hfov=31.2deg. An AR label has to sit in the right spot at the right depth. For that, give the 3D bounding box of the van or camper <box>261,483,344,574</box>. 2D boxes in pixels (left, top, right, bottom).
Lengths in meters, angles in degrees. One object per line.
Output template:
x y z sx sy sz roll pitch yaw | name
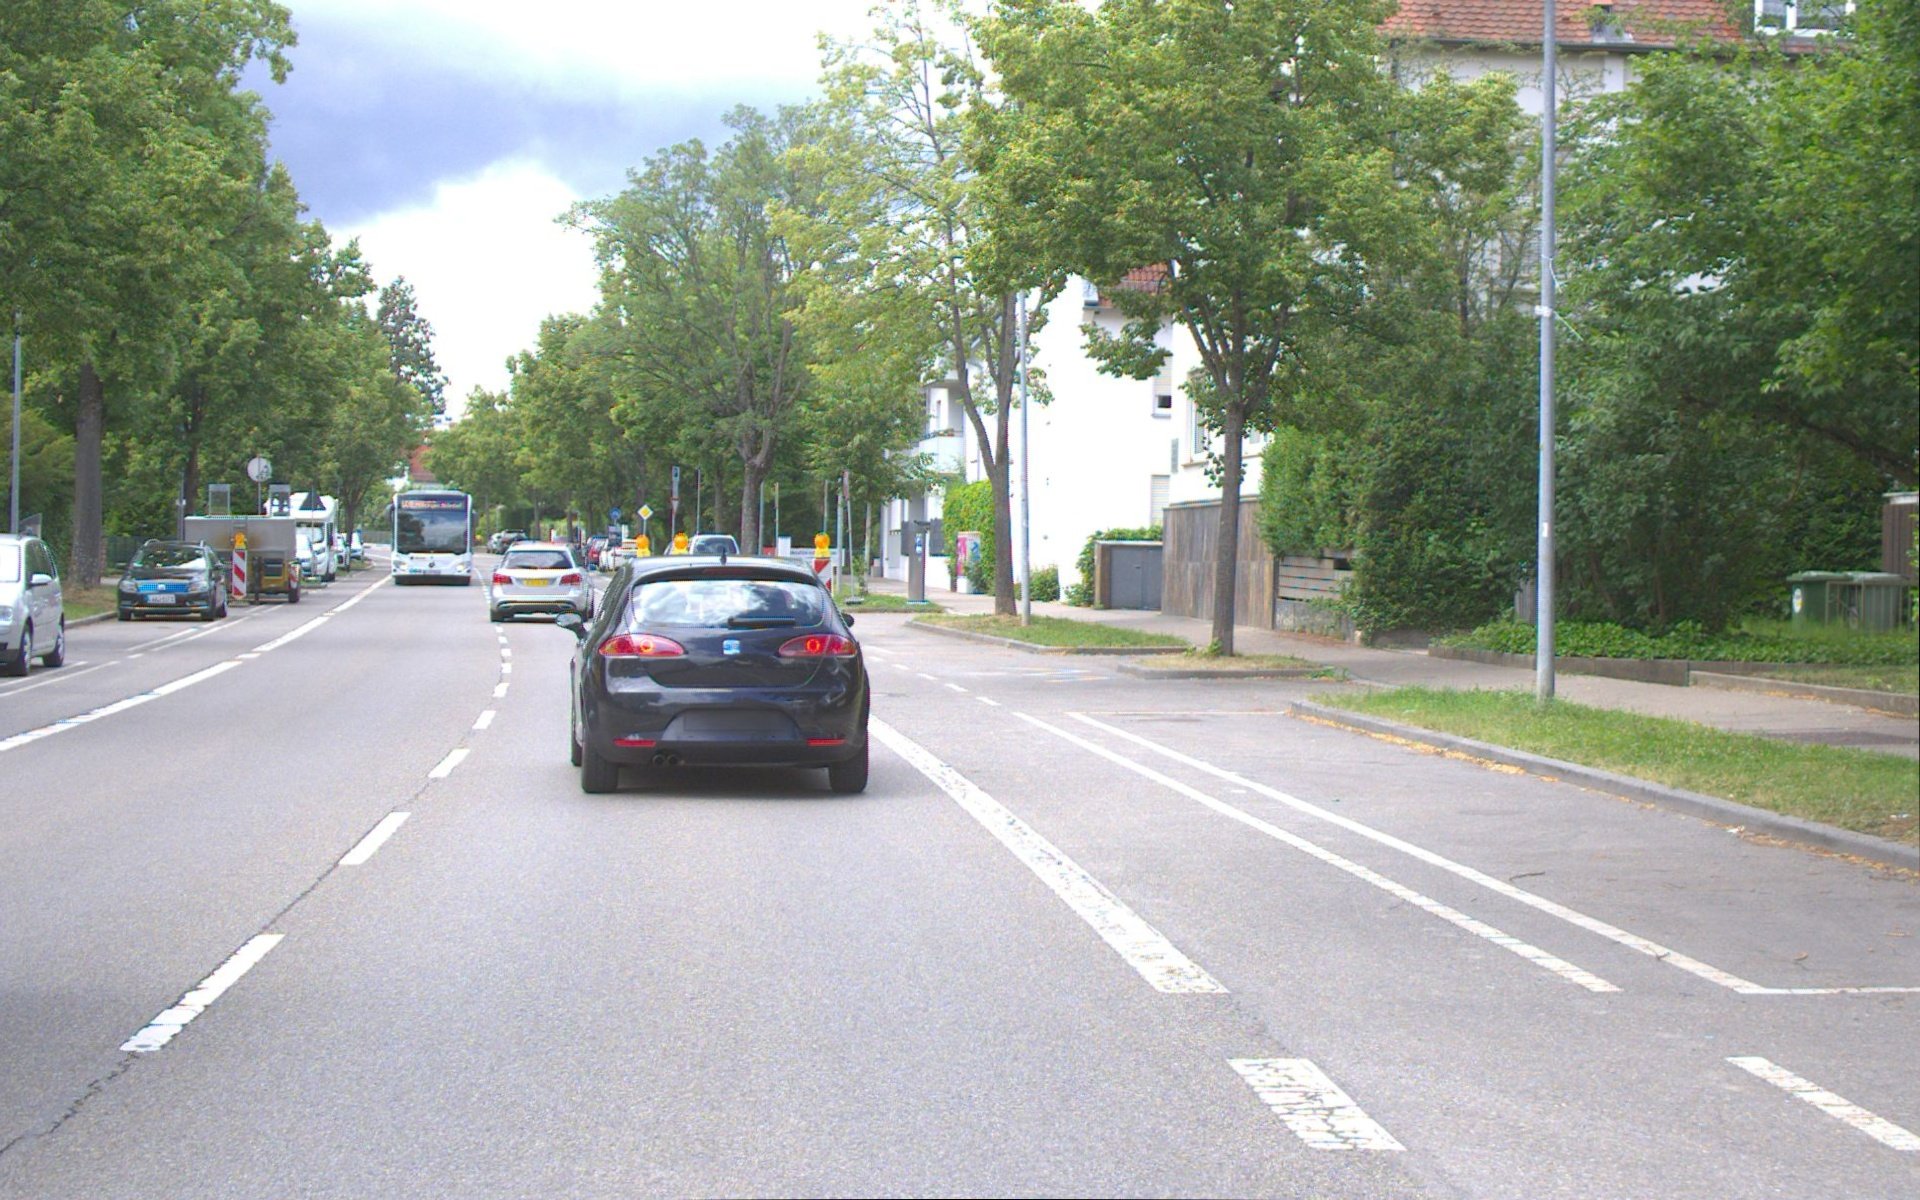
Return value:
-22.499 -2.460 117.884 2.434 2.999 7.695 0 1 -8 | van or camper

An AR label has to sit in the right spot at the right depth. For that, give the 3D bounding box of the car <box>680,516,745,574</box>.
-7.223 -1.609 99.975 1.632 1.660 3.649 0 1 -8 | car

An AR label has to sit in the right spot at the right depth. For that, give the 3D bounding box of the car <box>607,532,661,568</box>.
-13.610 -2.112 143.244 2.020 1.438 5.026 1 1 -8 | car

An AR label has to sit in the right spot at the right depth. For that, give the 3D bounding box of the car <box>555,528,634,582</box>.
-10.604 -1.318 99.512 1.993 1.525 4.001 0 1 -10 | car

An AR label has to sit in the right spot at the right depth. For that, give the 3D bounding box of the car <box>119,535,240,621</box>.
-14.920 -0.399 65.881 1.860 1.548 4.621 1 -1 -8 | car

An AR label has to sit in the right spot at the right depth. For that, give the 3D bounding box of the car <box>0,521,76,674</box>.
-11.362 -0.052 39.671 1.688 1.678 4.226 1 0 -7 | car

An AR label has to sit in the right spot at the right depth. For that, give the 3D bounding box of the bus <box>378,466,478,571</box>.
-18.097 -2.658 117.872 2.804 3.277 18.049 1 0 -7 | bus

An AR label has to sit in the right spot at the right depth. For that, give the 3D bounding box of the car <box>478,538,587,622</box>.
-8.192 -0.405 66.151 1.993 1.552 4.001 0 1 -6 | car

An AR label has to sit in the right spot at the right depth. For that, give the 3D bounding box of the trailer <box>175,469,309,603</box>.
-16.793 -1.463 80.754 2.673 2.931 7.477 1 0 -9 | trailer

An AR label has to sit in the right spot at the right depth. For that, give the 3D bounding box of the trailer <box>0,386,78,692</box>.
-10.475 -0.594 33.387 2.372 2.953 7.011 0 1 -3 | trailer

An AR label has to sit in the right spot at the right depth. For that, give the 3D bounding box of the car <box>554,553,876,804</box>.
-1.628 0.436 21.757 1.783 1.444 3.559 0 1 -8 | car
